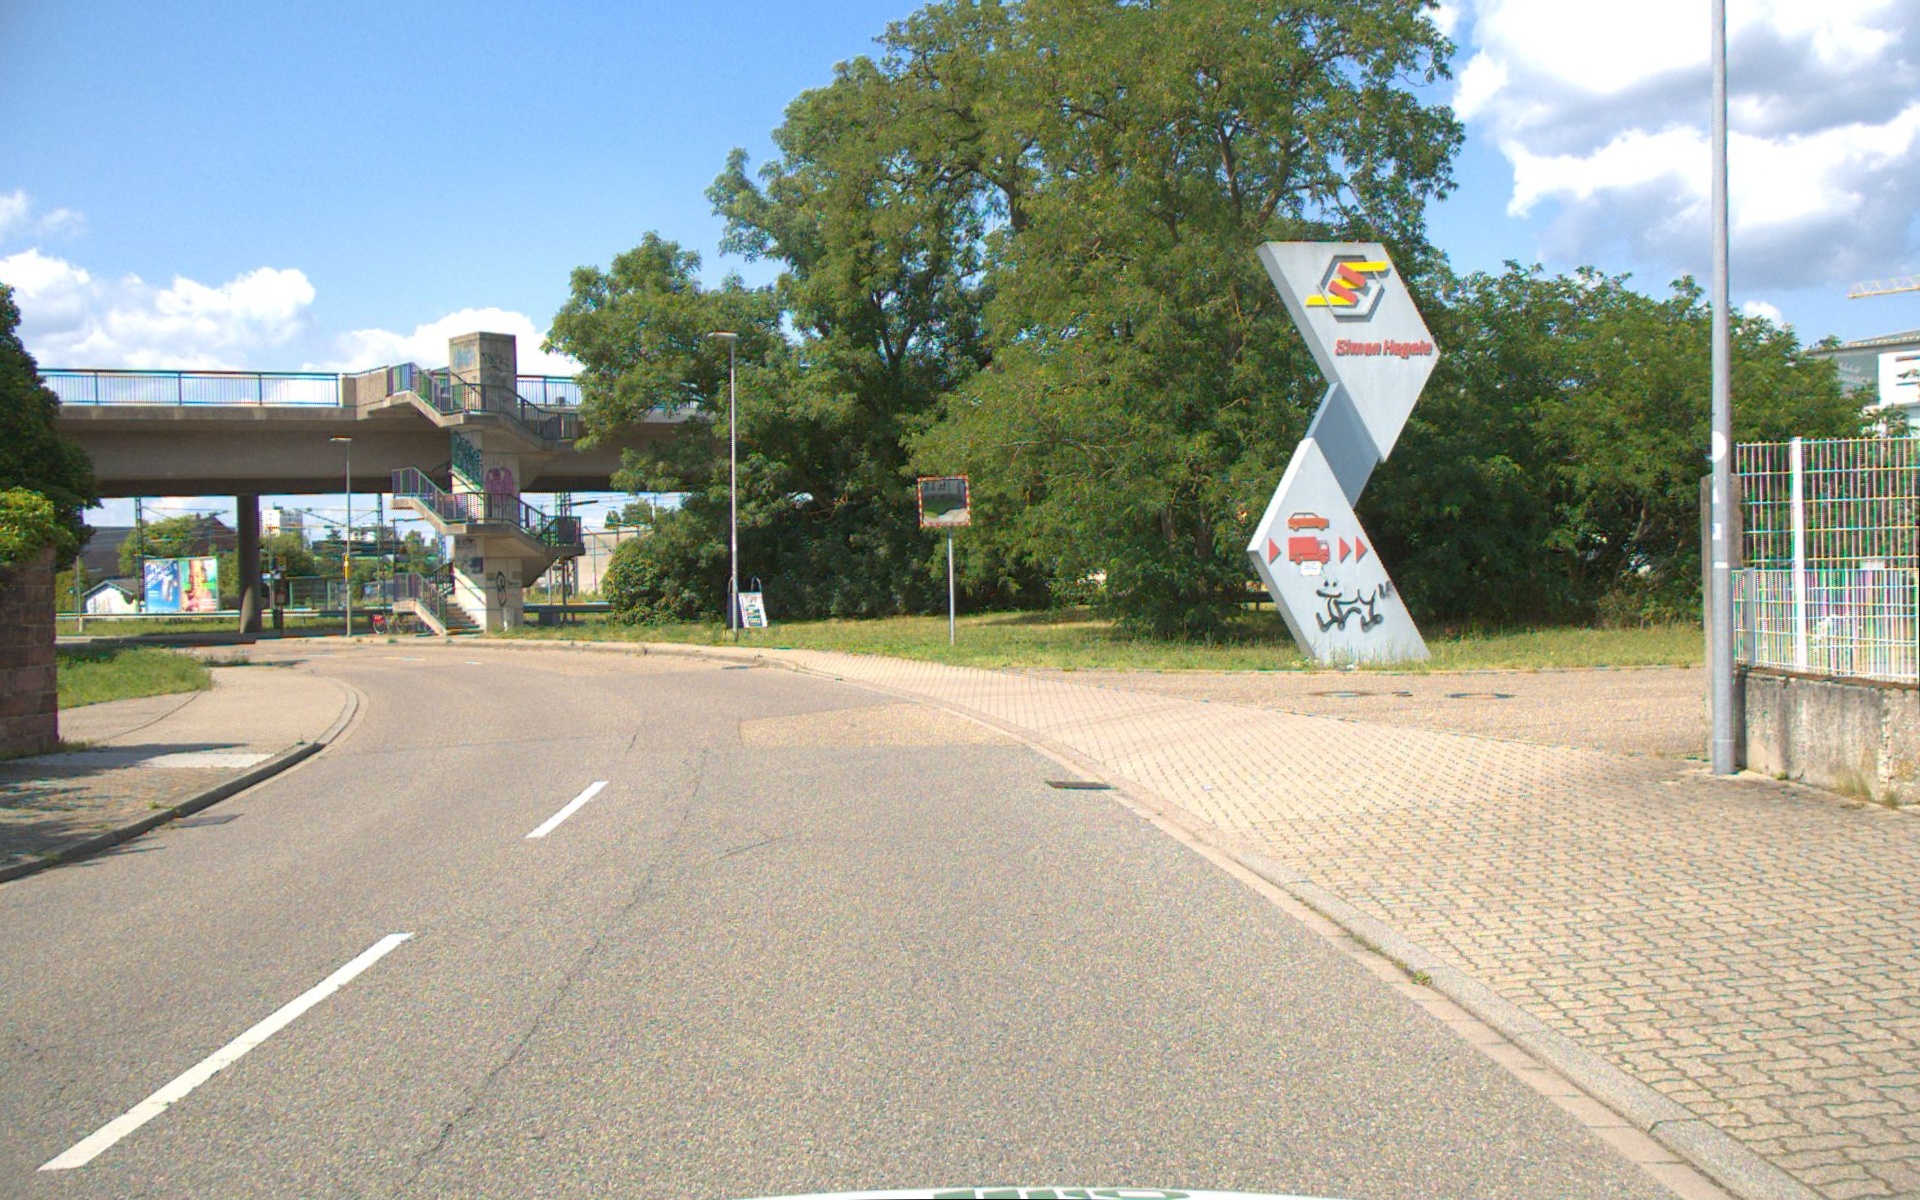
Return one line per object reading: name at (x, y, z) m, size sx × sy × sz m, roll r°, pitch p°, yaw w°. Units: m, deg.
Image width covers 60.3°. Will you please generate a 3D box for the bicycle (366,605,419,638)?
bicycle at (-21.001, 0.797, 61.203) m, size 2.146 × 1.127 × 0.643 m, roll -2°, pitch 1°, yaw 34°
